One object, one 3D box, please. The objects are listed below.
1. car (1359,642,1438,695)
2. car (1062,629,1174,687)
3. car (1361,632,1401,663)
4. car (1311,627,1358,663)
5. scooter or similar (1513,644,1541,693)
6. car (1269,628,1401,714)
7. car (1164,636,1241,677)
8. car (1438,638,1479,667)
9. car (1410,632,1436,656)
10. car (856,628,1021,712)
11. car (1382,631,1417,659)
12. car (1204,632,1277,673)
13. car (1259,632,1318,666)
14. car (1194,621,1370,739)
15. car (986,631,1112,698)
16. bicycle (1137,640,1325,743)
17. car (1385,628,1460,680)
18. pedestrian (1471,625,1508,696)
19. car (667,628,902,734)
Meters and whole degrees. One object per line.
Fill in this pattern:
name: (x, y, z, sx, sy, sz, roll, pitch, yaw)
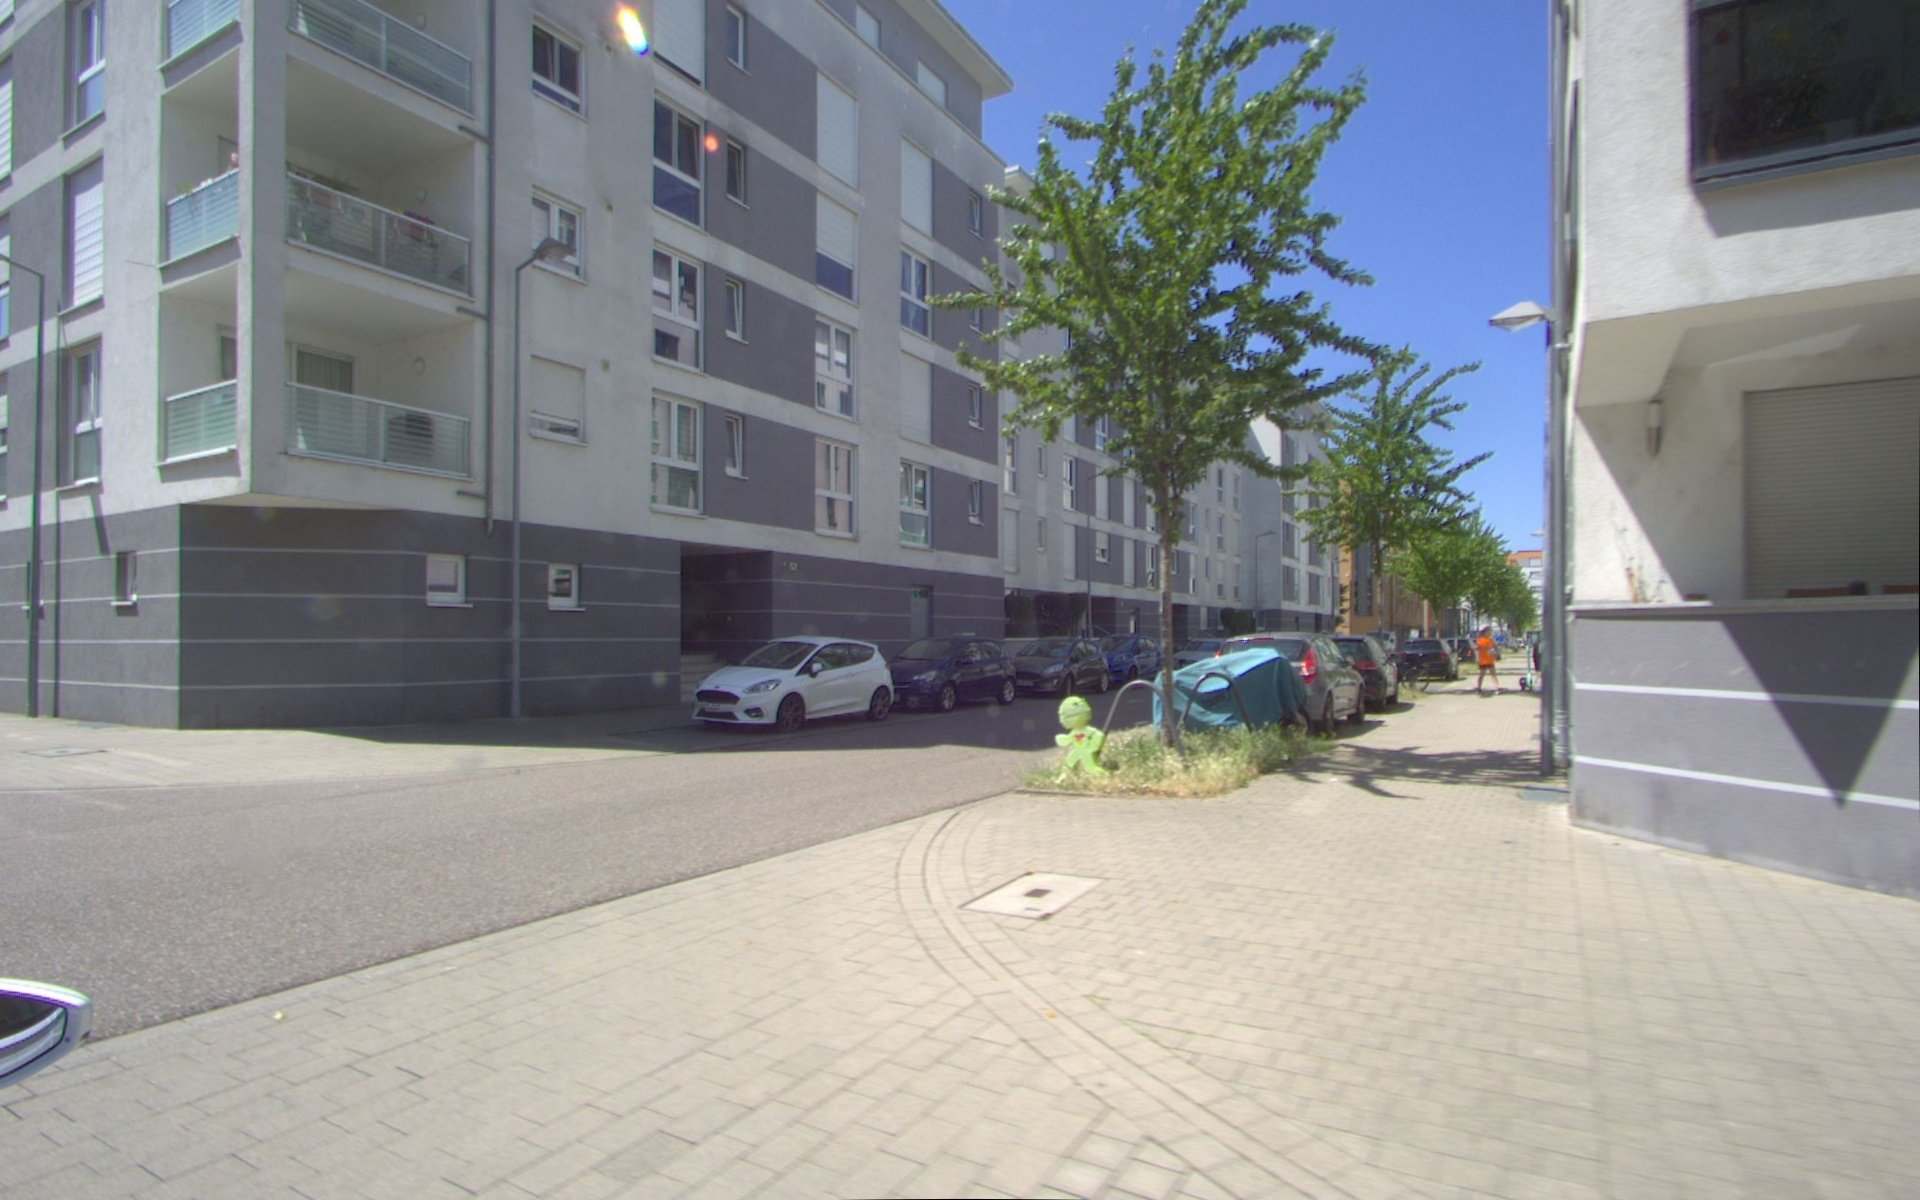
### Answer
car: (11.743, 1.779, 26.701, 1.608, 1.263, 3.395, -1, -2, 29)
car: (4.742, 1.668, 29.592, 1.833, 1.577, 4.266, -1, -2, 31)
car: (28.736, 3.201, 68.261, 1.971, 2.039, 3.982, -1, -2, 31)
car: (22.206, 2.634, 59.292, 1.971, 2.039, 3.982, -1, -2, 31)
scooter or similar: (14.458, 1.738, 25.521, 0.463, 1.211, 1.519, 0, -2, 36)
car: (7.672, 1.362, 20.240, 1.970, 1.549, 3.985, -1, -2, 28)
car: (9.010, 2.053, 37.005, 1.693, 1.402, 4.128, -1, -2, 30)
car: (23.779, 2.456, 47.712, 1.608, 1.304, 3.395, -1, -2, 29)
car: (45.402, 4.278, 98.184, 1.971, 2.240, 3.982, -1, -2, 31)
car: (-0.356, 1.378, 20.832, 1.702, 1.577, 3.787, -1, -2, 31)
car: (33.335, 3.375, 75.863, 1.971, 2.039, 3.982, -1, -2, 31)
car: (11.695, 2.176, 41.585, 1.970, 1.616, 4.187, 0, -3, 30)
car: (16.359, 2.384, 49.758, 1.971, 1.616, 3.982, -1, -2, 31)
car: (5.076, 1.167, 15.505, 1.782, 1.582, 3.671, -2, -3, 31)
car: (2.336, 1.560, 25.312, 1.804, 1.505, 3.870, 1, -1, 27)
bicycle: (3.430, 1.148, 12.836, 2.212, 1.254, 0.782, 0, -1, 4)
car: (15.869, 1.804, 34.262, 1.970, 1.639, 3.983, -1, -2, 30)
pedestrian: (12.722, 1.447, 24.064, 0.734, 1.674, 0.511, -1, -1, 36)
car: (-2.808, 1.258, 16.865, 1.728, 1.489, 3.984, 2, -1, 30)
